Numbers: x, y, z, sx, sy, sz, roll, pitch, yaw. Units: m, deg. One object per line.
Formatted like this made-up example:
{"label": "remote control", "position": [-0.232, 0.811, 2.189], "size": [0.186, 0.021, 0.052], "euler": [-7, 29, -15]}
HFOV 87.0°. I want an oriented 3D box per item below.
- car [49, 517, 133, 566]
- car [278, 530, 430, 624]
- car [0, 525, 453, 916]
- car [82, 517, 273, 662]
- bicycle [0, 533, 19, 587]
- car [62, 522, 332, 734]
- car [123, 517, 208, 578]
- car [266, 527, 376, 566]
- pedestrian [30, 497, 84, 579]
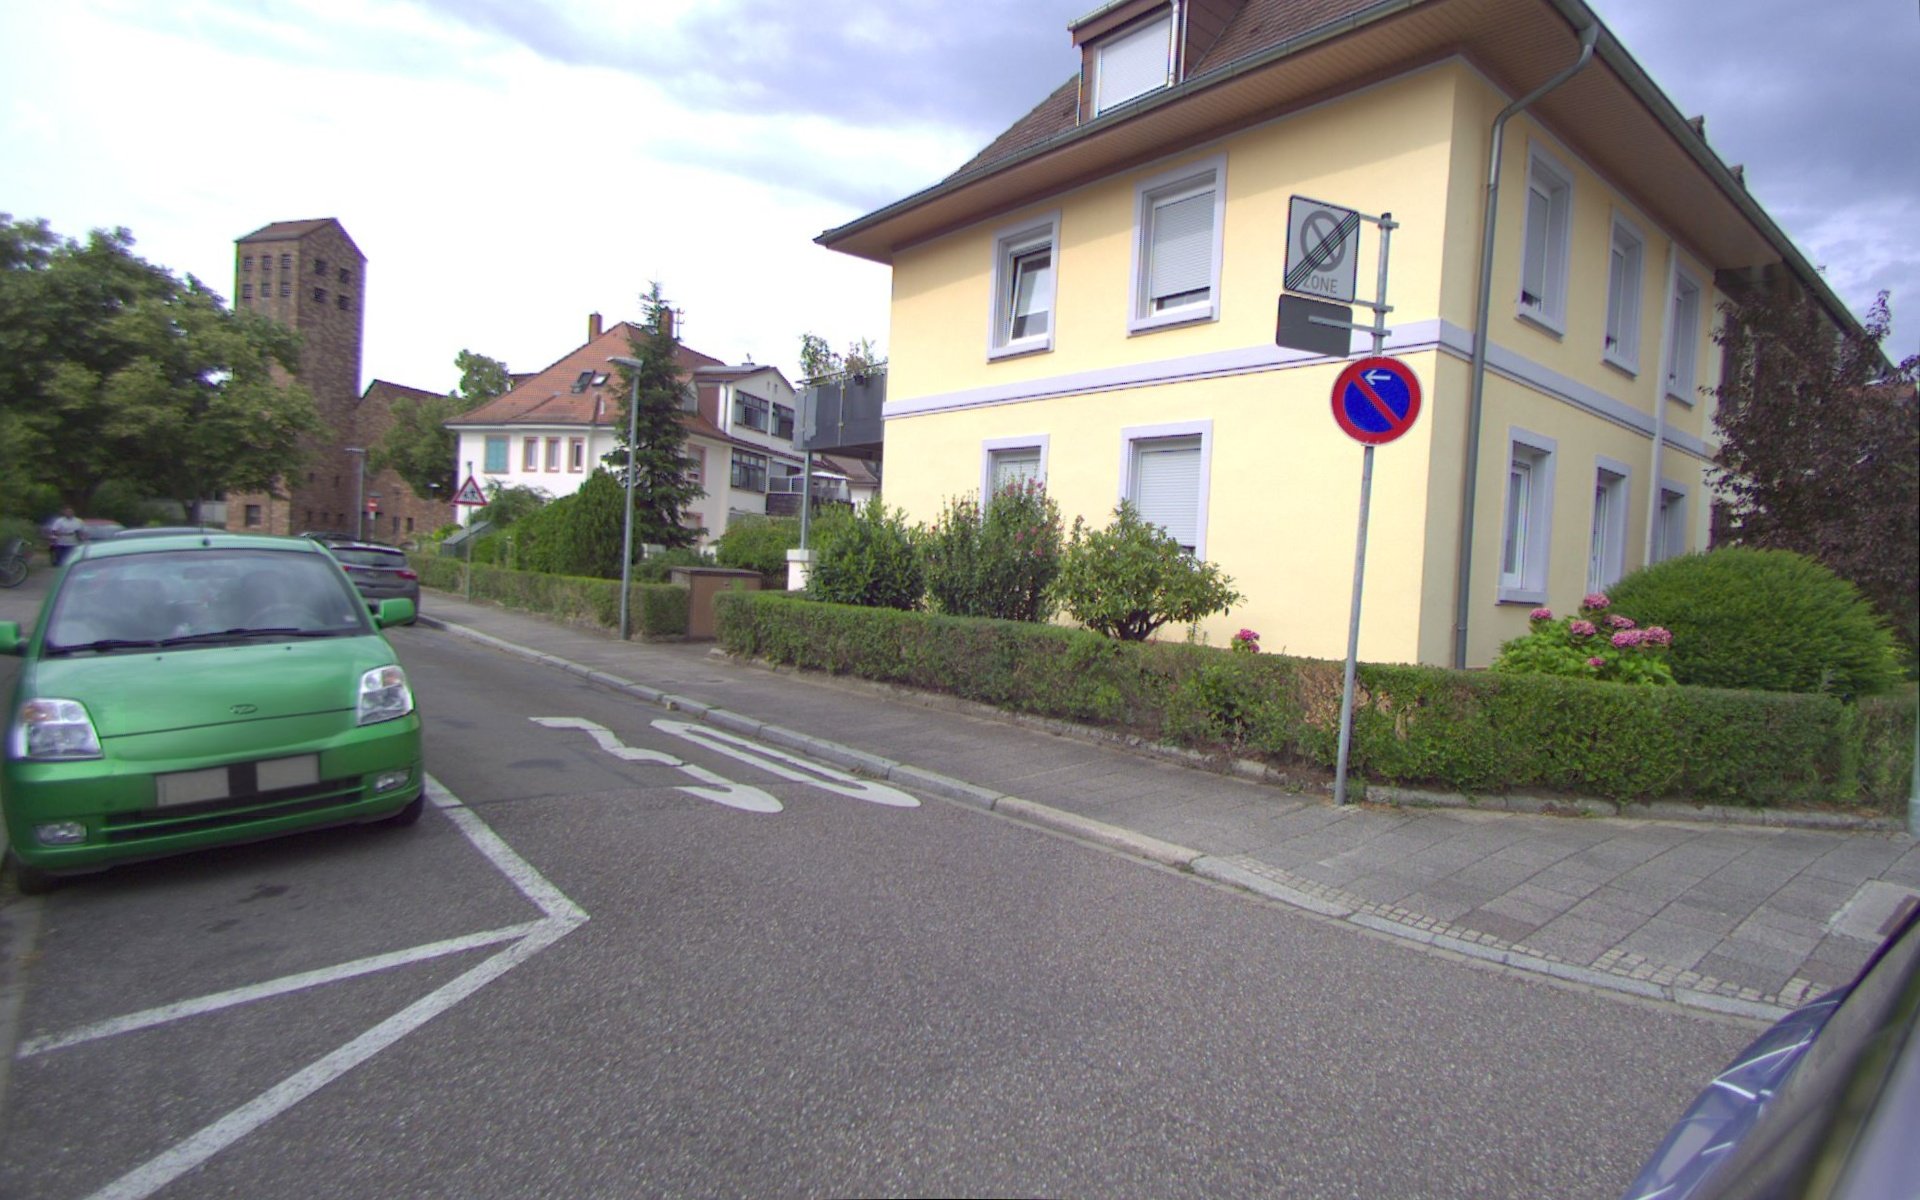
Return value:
{"label": "car", "position": [-28.492, -1.943, 33.156], "size": [3.468, 1.513, 1.627], "euler": [4, 5, 42]}
{"label": "car", "position": [-11.773, -0.489, 19.542], "size": [1.821, 1.499, 4.038], "euler": [4, 0, -40]}
{"label": "car", "position": [-4.106, 0.323, 5.514], "size": [1.622, 1.439, 3.478], "euler": [-2, 5, -40]}
{"label": "car", "position": [-9.622, -0.238, 12.396], "size": [1.622, 1.513, 3.478], "euler": [-2, 5, -40]}
{"label": "bicycle", "position": [-20.964, -0.895, 22.215], "size": [0.416, 1.117, 2.111], "euler": [2, 2, -43]}
{"label": "car", "position": [-6.889, 0.071, 9.077], "size": [1.622, 1.513, 3.478], "euler": [-2, 5, -40]}
{"label": "car", "position": [-21.170, -1.424, 26.935], "size": [1.622, 1.513, 3.478], "euler": [-2, 5, -40]}
{"label": "car", "position": [-29.860, -2.478, 47.346], "size": [4.153, 1.481, 1.683], "euler": [2, 3, -41]}
{"label": "pedestrian", "position": [-21.721, -1.486, 24.372], "size": [0.868, 1.901, 1.078], "euler": [2, 2, -39]}
